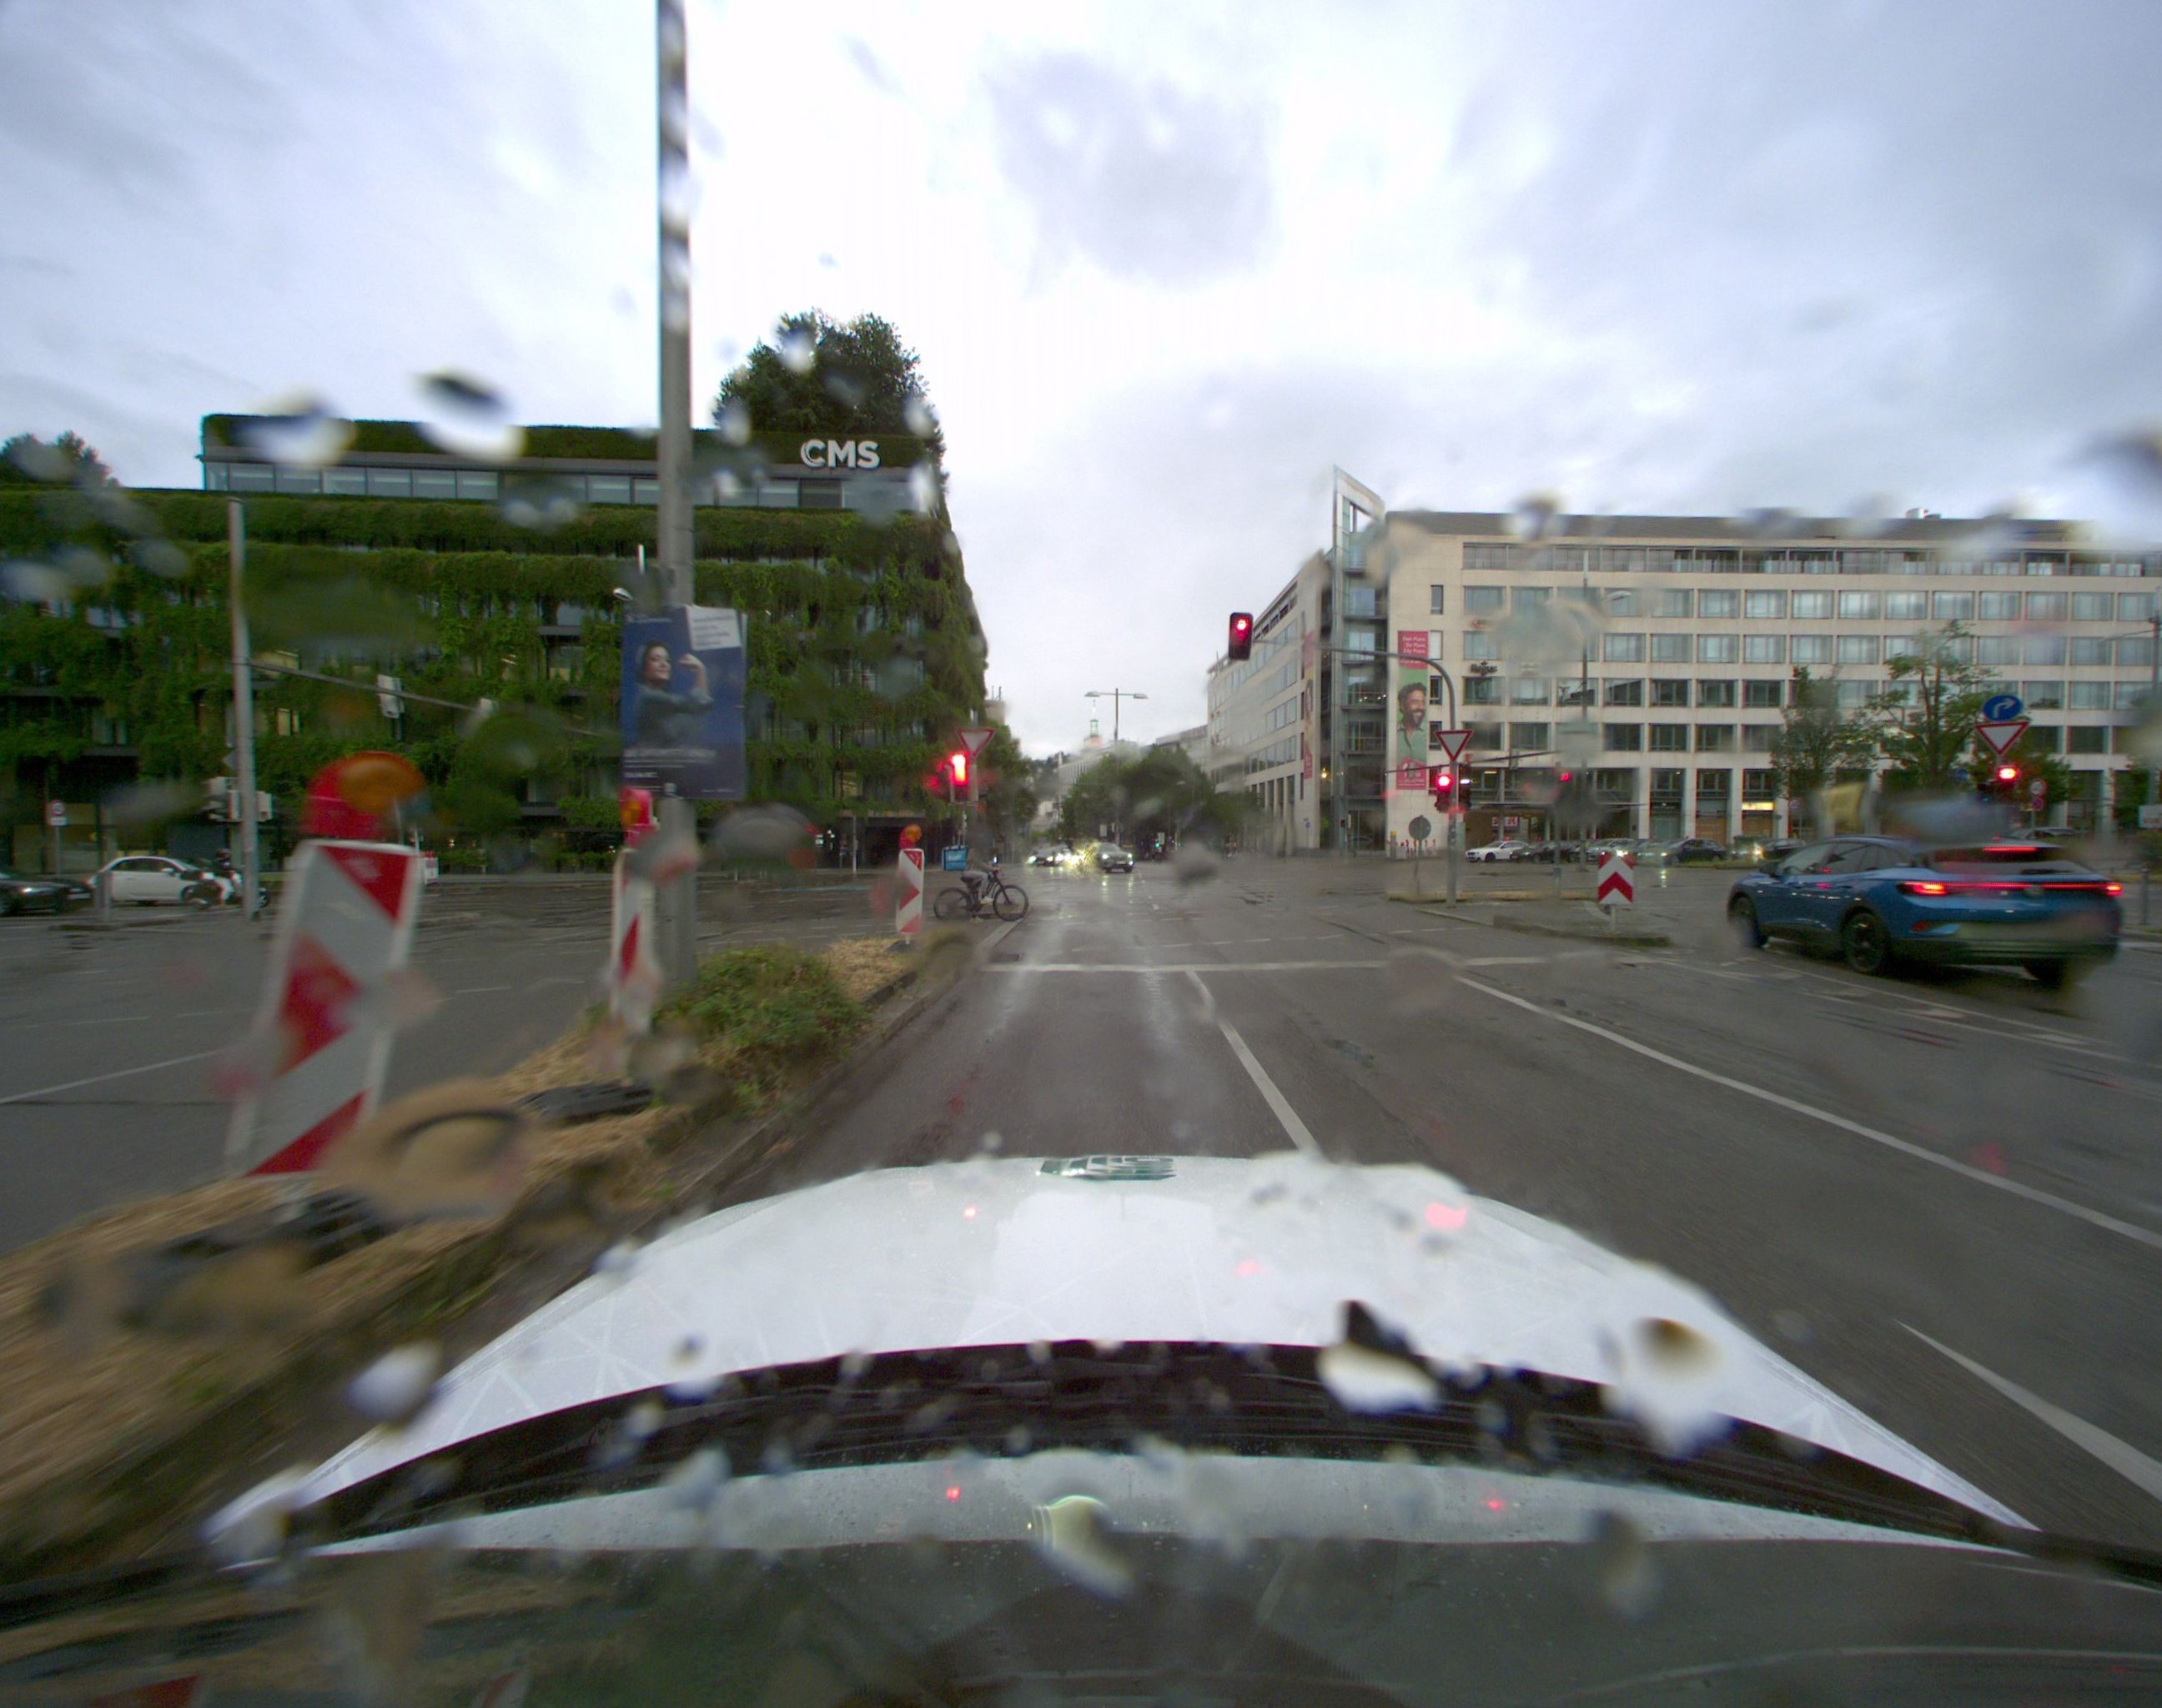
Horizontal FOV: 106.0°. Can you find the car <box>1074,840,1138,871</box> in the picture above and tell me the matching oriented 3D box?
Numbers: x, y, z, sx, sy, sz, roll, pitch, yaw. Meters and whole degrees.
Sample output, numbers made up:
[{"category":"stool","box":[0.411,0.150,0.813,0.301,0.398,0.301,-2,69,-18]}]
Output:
[{"category":"car","box":[1.270,0.066,44.111,2.000,1.550,4.526,-1,1,-19]}]

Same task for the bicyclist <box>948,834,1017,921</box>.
[{"category":"bicyclist","box":[-2.005,0.453,16.449,1.295,1.704,0.845,-1,0,-12]}]

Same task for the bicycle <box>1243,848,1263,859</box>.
[{"category":"bicycle","box":[15.124,-0.067,71.686,1.778,0.934,0.478,0,0,43]}]

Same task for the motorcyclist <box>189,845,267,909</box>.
[{"category":"motorcyclist","box":[-23.318,0.602,22.290,1.187,1.703,0.844,-1,0,-15]}]

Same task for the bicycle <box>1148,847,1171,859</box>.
[{"category":"bicycle","box":[7.544,-0.065,78.423,0.798,1.117,2.229,-1,0,-39]}]

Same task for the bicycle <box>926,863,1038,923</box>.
[{"category":"bicycle","box":[-2.007,0.764,16.429,2.148,1.103,0.844,-1,0,-14]}]

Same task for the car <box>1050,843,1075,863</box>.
[{"category":"car","box":[-1.764,-0.071,77.490,2.171,1.823,4.637,-1,1,-4]}]

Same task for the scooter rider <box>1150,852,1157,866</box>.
[{"category":"scooter rider","box":[9.059,0.646,101.518,0.760,1.774,0.795,-1,0,-2]}]

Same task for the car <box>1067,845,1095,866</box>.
[{"category":"car","box":[-0.018,0.079,62.452,1.988,1.486,4.462,-1,2,-2]}]

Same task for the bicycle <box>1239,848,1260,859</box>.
[{"category":"bicycle","box":[14.463,-0.051,70.093,1.778,0.934,0.478,0,0,43]}]

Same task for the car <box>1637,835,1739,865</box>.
[{"category":"car","box":[31.459,-0.237,42.268,4.452,1.464,1.716,-1,0,-11]}]

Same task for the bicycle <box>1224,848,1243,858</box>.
[{"category":"bicycle","box":[14.688,-0.053,78.624,1.786,0.934,0.476,-1,0,4]}]

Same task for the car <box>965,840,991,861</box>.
[{"category":"car","box":[-9.421,-0.339,74.794,1.989,1.895,4.461,-1,0,-2]}]

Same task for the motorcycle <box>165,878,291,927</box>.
[{"category":"motorcycle","box":[-23.294,1.302,22.296,2.231,1.210,0.844,-1,0,-15]}]

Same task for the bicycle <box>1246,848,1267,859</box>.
[{"category":"bicycle","box":[15.254,-0.067,70.716,1.778,0.934,0.478,0,0,43]}]

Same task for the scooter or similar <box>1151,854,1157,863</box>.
[{"category":"scooter or similar","box":[9.056,0.558,101.455,0.554,1.007,1.823,-1,0,-1]}]

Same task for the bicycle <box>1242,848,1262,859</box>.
[{"category":"bicycle","box":[15.187,-0.033,72.430,1.778,0.934,0.478,0,0,43]}]

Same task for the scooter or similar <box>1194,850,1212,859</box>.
[{"category":"scooter or similar","box":[12.840,0.056,85.677,1.750,0.878,0.486,-1,0,-18]}]

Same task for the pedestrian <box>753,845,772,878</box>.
[{"category":"pedestrian","box":[-17.562,0.411,44.850,0.939,1.758,1.163,-1,0,-22]}]

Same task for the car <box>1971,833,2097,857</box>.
[{"category":"car","box":[57.595,-0.529,49.362,4.590,1.348,1.939,0,1,33]}]

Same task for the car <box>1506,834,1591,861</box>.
[{"category":"car","box":[29.462,-0.428,51.409,4.451,1.598,1.993,-1,0,-10]}]

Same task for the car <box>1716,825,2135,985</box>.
[{"category":"car","box":[9.920,0.468,10.155,1.690,1.529,4.447,-1,0,17]}]

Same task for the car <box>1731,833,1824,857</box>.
[{"category":"car","box":[40.504,-0.529,47.367,4.646,1.348,1.916,-1,0,-17]}]

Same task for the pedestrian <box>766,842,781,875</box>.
[{"category":"pedestrian","box":[-16.998,0.237,45.062,0.744,1.758,0.969,-1,0,-22]}]

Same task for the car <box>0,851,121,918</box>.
[{"category":"car","box":[-28.486,0.783,20.855,4.805,1.652,1.963,-1,0,-12]}]

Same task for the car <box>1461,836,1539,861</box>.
[{"category":"car","box":[28.161,-0.366,54.775,4.455,1.598,1.991,-1,0,-13]}]

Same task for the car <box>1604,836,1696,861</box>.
[{"category":"car","box":[31.704,-0.314,45.404,4.455,1.348,1.715,-1,0,-13]}]

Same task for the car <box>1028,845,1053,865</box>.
[{"category":"car","box":[-3.171,0.066,64.065,1.852,1.448,4.617,-1,1,-3]}]

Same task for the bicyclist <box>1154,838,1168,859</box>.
[{"category":"bicyclist","box":[7.673,-0.499,78.253,0.798,1.975,1.101,-1,0,-39]}]

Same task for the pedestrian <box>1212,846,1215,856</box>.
[{"category":"pedestrian","box":[15.449,-0.362,94.935,0.352,1.173,0.414,-1,0,-4]}]

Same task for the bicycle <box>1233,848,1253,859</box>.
[{"category":"bicycle","box":[15.253,-0.055,76.760,1.786,0.934,0.476,-1,0,4]}]

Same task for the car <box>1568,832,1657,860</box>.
[{"category":"car","box":[31.927,-0.460,48.929,4.455,1.598,1.991,-1,0,-13]}]

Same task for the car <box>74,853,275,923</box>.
[{"category":"car","box":[-26.922,0.964,24.326,3.450,1.922,1.993,-1,0,-11]}]

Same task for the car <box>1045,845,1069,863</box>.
[{"category":"car","box":[-2.110,-0.069,70.676,1.853,1.448,4.614,-1,1,-4]}]
